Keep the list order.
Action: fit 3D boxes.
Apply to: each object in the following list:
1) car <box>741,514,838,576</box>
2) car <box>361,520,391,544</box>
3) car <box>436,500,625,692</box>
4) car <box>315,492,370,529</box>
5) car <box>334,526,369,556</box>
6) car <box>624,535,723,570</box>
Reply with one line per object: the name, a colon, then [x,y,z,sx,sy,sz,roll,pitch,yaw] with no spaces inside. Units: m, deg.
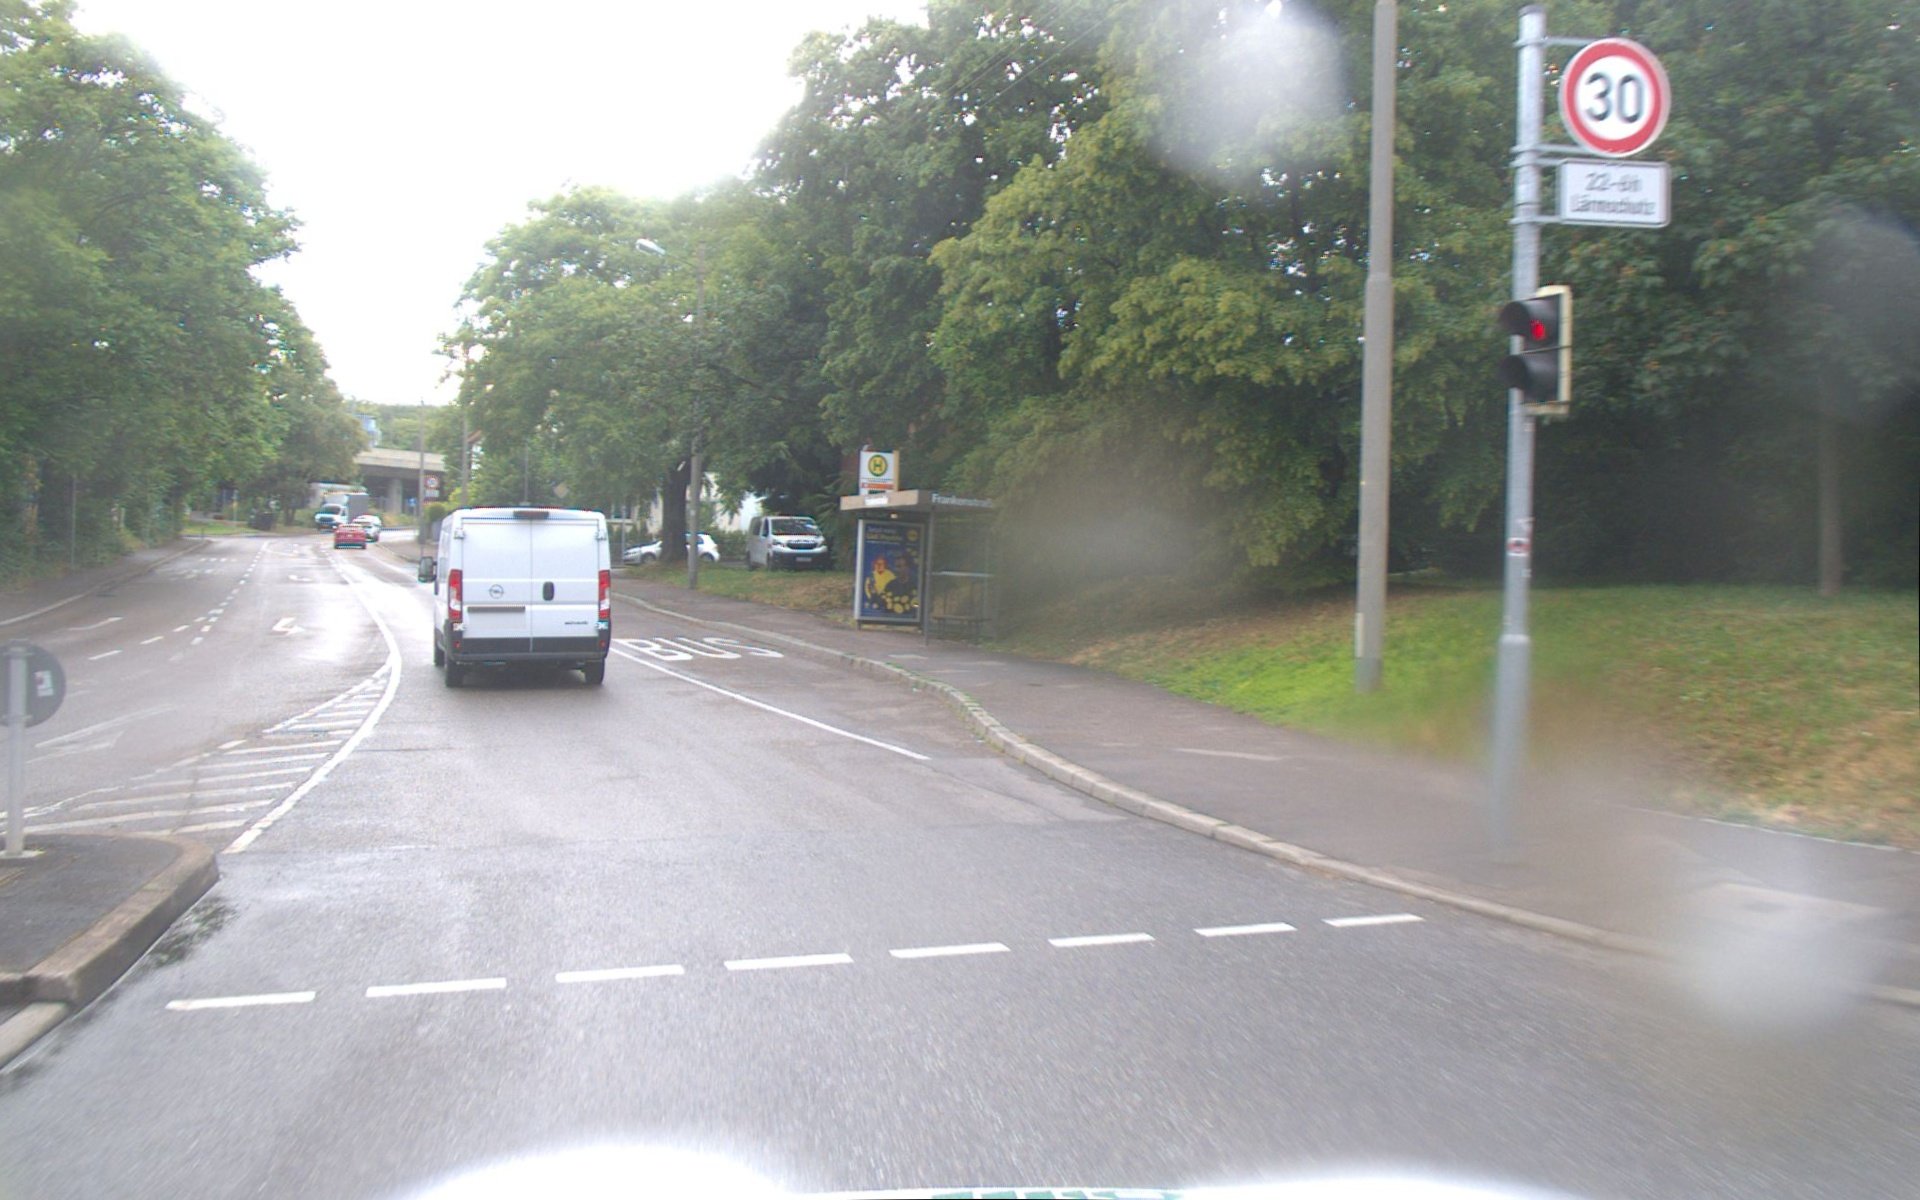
car: [-5.664,-1.842,54.358,1.964,1.836,5.120,2,2,-19]
car: [-41.154,-4.811,116.528,1.737,1.536,3.739,2,2,-16]
car: [-6.010,-0.106,22.689,2.114,2.323,5.035,0,1,-19]
car: [-54.583,-7.900,146.354,2.484,3.070,7.208,2,2,-3]
car: [-35.422,-3.446,96.229,1.811,1.560,4.177,1,2,-22]
car: [-12.346,-2.056,71.313,3.937,1.447,1.691,-1,1,-25]
